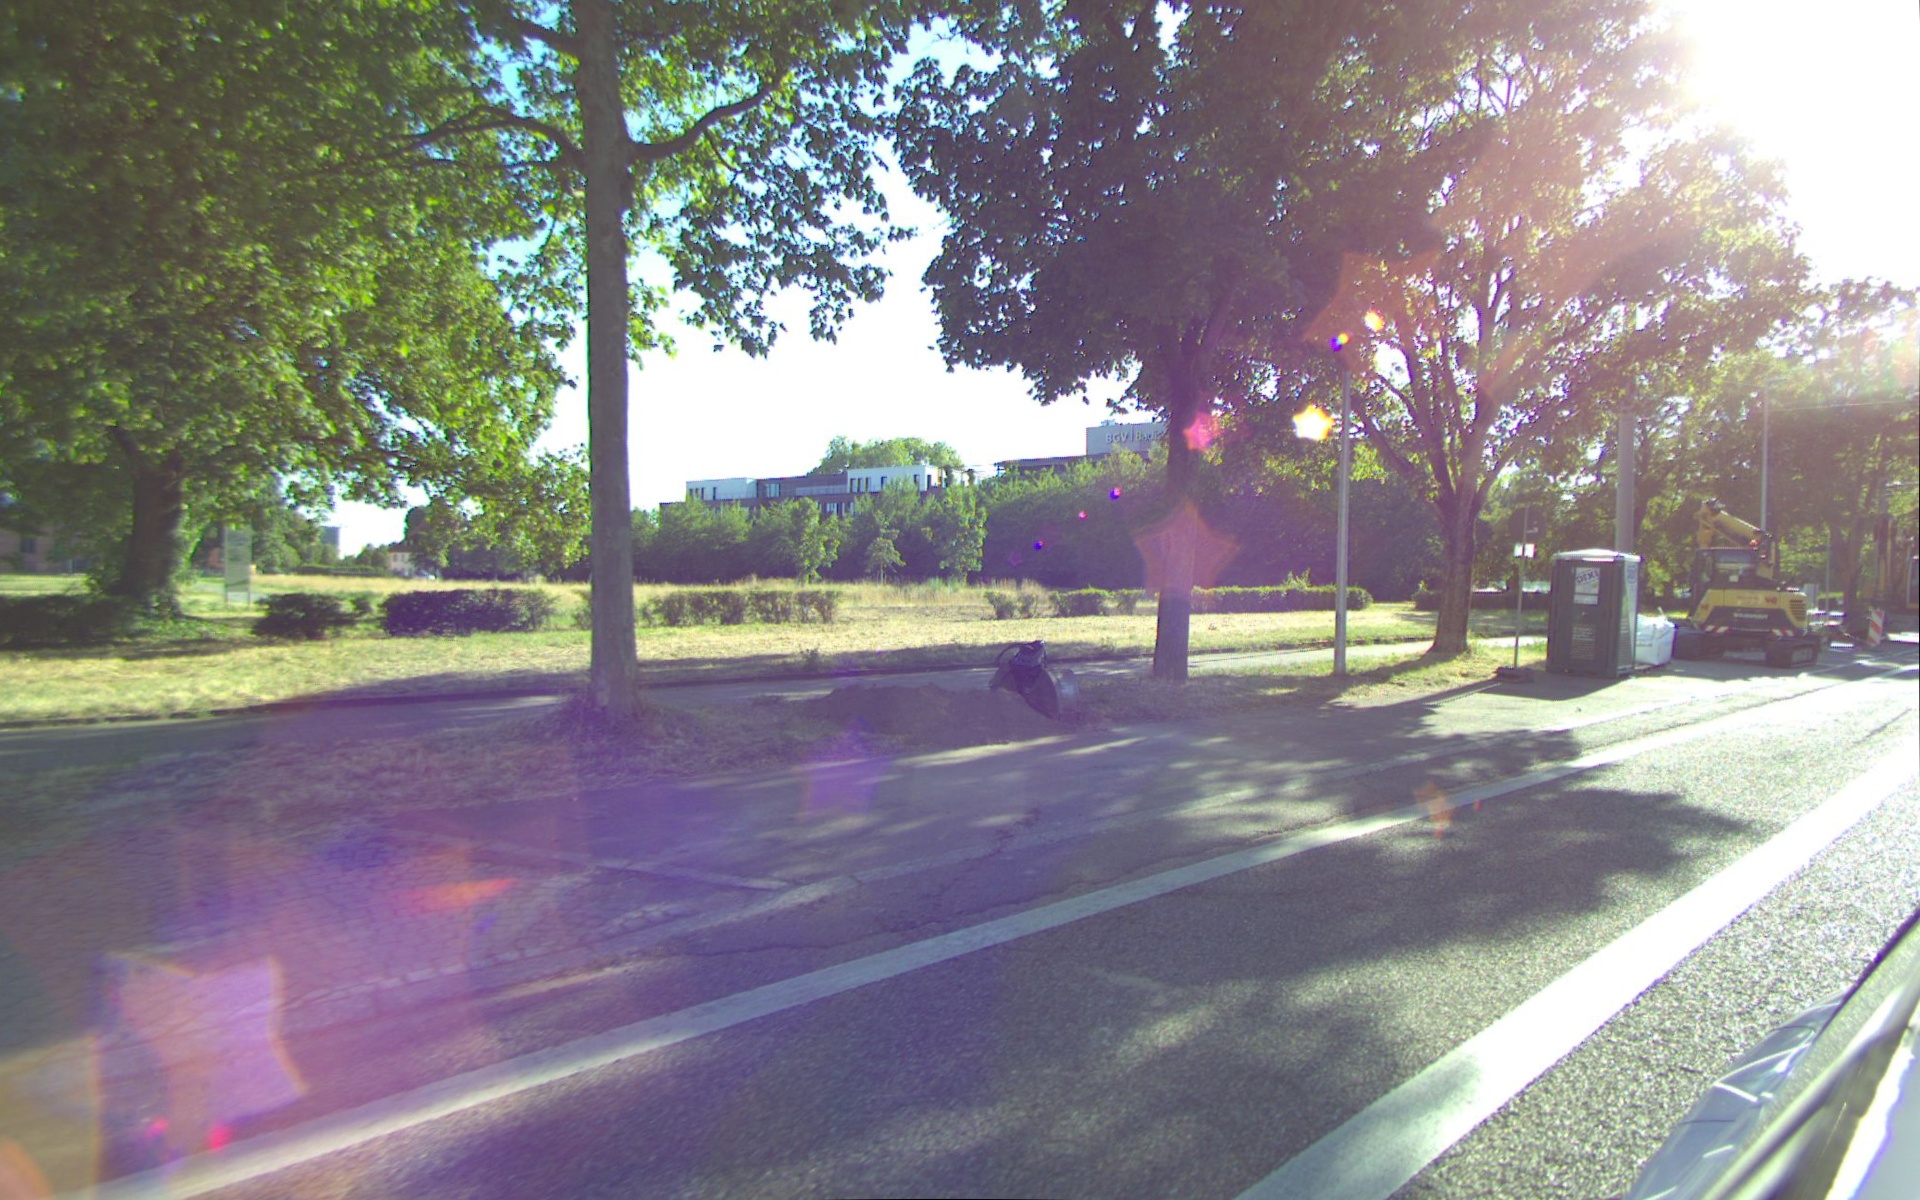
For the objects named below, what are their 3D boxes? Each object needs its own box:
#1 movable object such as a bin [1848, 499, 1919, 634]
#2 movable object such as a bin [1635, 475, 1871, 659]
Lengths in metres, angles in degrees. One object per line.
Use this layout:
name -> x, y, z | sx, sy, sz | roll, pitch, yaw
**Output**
movable object such as a bin -> 35.832, -1.182, 37.816 | 7.469, 4.666, 2.920 | 0, 4, -42
movable object such as a bin -> 20.367, -0.850, 25.808 | 7.469, 4.024, 3.345 | 0, 4, -42
